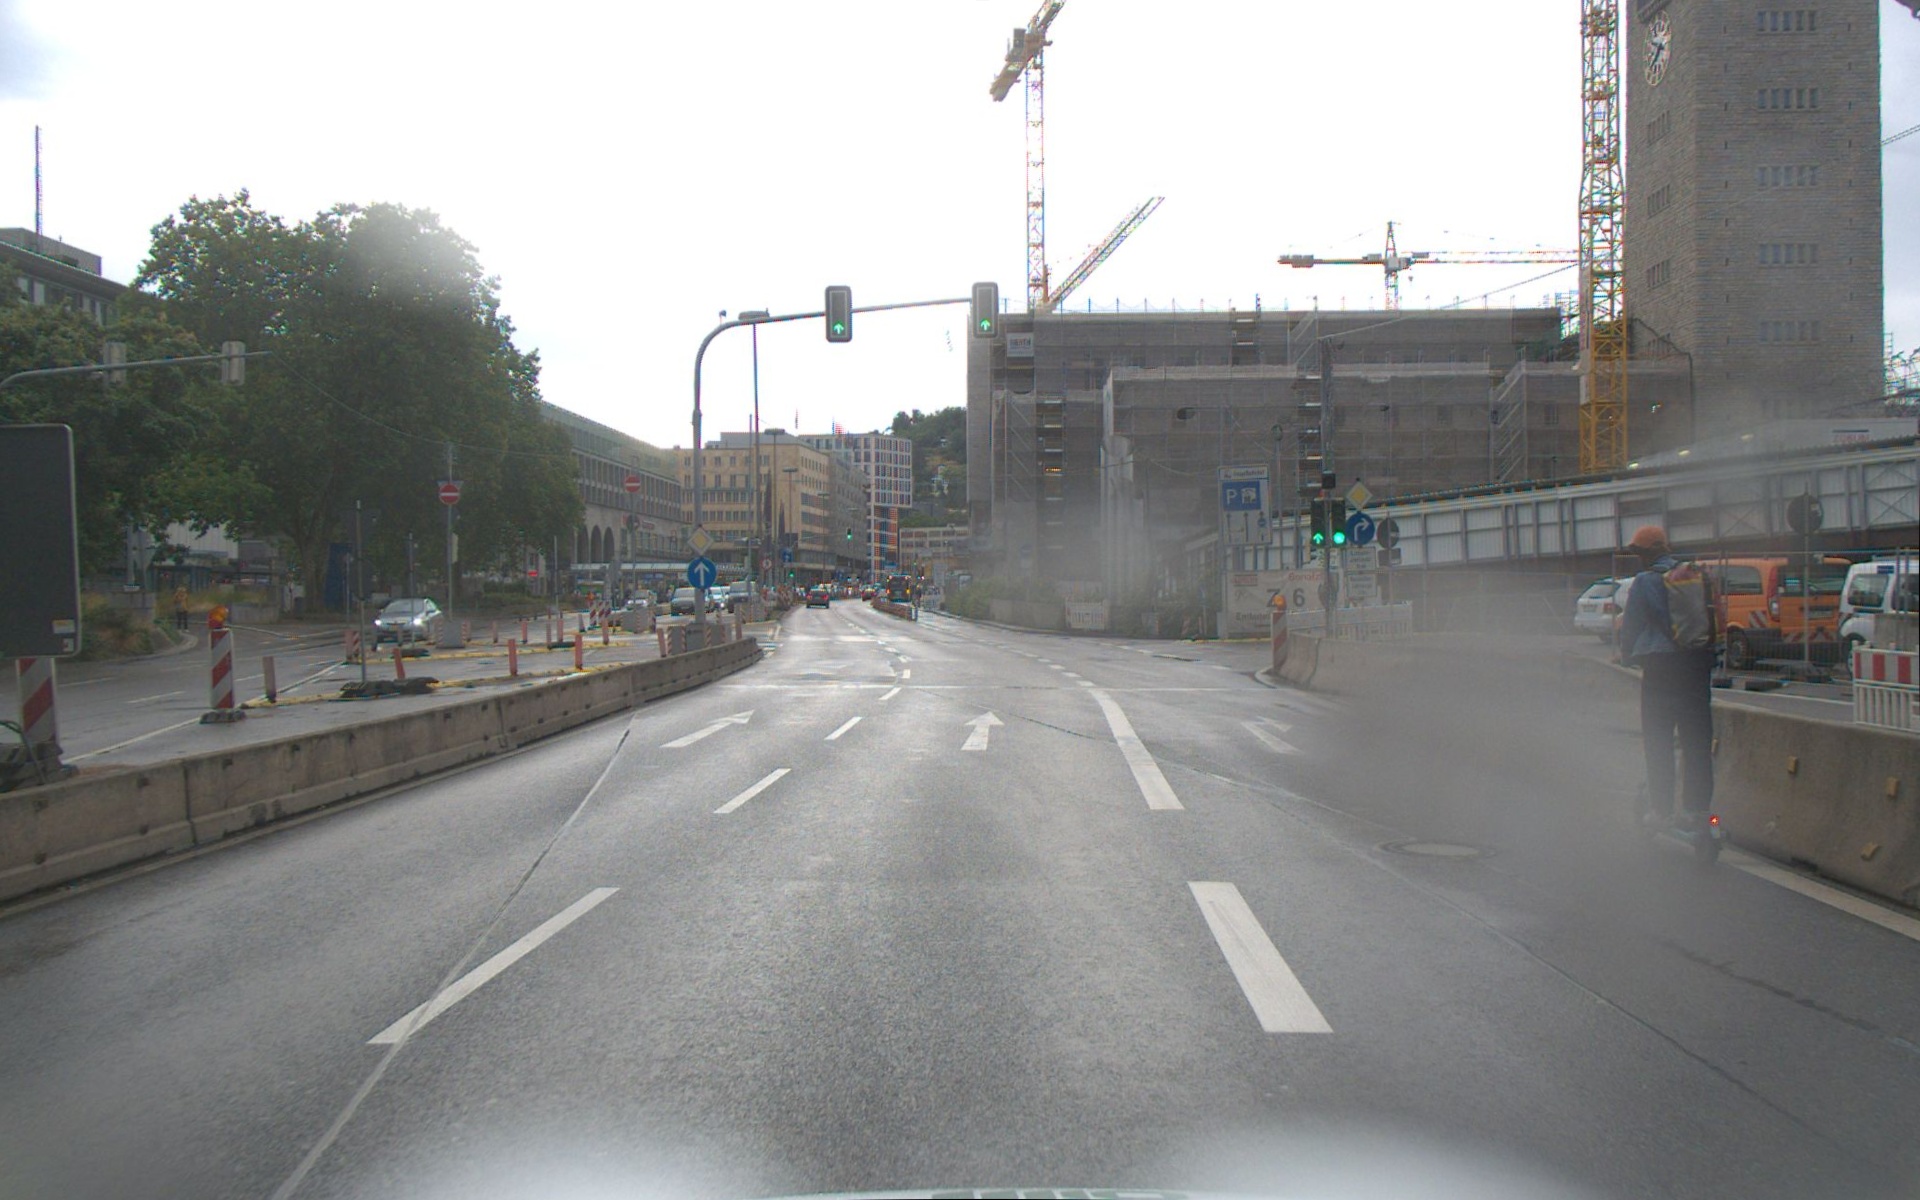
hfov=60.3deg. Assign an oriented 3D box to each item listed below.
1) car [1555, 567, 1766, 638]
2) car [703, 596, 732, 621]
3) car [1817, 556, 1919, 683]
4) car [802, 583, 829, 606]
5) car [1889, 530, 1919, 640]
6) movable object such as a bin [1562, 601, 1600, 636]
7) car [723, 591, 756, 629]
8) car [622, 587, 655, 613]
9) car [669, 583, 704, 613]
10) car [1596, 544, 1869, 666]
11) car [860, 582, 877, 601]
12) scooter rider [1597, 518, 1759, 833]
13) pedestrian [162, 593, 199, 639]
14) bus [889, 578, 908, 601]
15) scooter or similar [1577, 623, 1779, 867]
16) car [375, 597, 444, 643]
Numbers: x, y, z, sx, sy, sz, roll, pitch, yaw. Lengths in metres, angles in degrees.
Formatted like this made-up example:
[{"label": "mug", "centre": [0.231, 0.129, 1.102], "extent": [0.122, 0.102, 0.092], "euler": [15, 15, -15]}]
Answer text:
[{"label": "car", "centre": [16.038, 0.036, 37.956], "extent": [4.125, 1.477, 1.811], "euler": [-2, 1, -10]}, {"label": "car", "centre": [-16.924, 0.628, 115.480], "extent": [1.866, 1.554, 4.170], "euler": [-2, -2, -7]}, {"label": "car", "centre": [14.849, 0.282, 24.033], "extent": [1.810, 1.838, 5.081], "euler": [0, 2, -5]}, {"label": "car", "centre": [-11.218, -0.389, 128.335], "extent": [1.866, 1.554, 4.170], "euler": [-2, -2, -7]}, {"label": "car", "centre": [21.876, -0.364, 33.622], "extent": [2.008, 2.354, 5.589], "euler": [-2, 0, -11]}, {"label": "movable object such as a bin", "centre": [20.783, 0.631, 55.332], "extent": [0.970, 1.121, 0.730], "euler": [-3, -2, 4]}, {"label": "car", "centre": [-13.446, 0.644, 100.896], "extent": [1.866, 2.119, 4.170], "euler": [-2, -2, -7]}, {"label": "car", "centre": [-21.896, 0.040, 112.854], "extent": [1.866, 1.554, 4.170], "euler": [-2, -2, -7]}, {"label": "car", "centre": [-16.618, -0.096, 100.530], "extent": [1.866, 1.554, 4.170], "euler": [-2, -2, -7]}, {"label": "car", "centre": [13.774, 0.070, 29.905], "extent": [1.877, 2.010, 5.151], "euler": [0, 0, -10]}, {"label": "car", "centre": [-10.998, -1.055, 198.507], "extent": [1.954, 2.049, 3.997], "euler": [-2, -2, -3]}, {"label": "scooter rider", "centre": [4.338, 0.434, 10.045], "extent": [0.585, 1.817, 0.997], "euler": [0, 0, 3]}, {"label": "pedestrian", "centre": [-27.763, 0.580, 58.913], "extent": [0.574, 1.584, 1.114], "euler": [-3, -2, 12]}, {"label": "bus", "centre": [-7.289, -1.259, 195.181], "extent": [1.953, 2.474, 4.000], "euler": [-3, -2, 1]}, {"label": "scooter or similar", "centre": [4.334, 0.823, 10.100], "extent": [0.585, 1.342, 1.668], "euler": [0, 0, 3]}, {"label": "car", "centre": [-19.533, 0.685, 58.824], "extent": [1.734, 1.488, 4.166], "euler": [-3, 0, -11]}]
